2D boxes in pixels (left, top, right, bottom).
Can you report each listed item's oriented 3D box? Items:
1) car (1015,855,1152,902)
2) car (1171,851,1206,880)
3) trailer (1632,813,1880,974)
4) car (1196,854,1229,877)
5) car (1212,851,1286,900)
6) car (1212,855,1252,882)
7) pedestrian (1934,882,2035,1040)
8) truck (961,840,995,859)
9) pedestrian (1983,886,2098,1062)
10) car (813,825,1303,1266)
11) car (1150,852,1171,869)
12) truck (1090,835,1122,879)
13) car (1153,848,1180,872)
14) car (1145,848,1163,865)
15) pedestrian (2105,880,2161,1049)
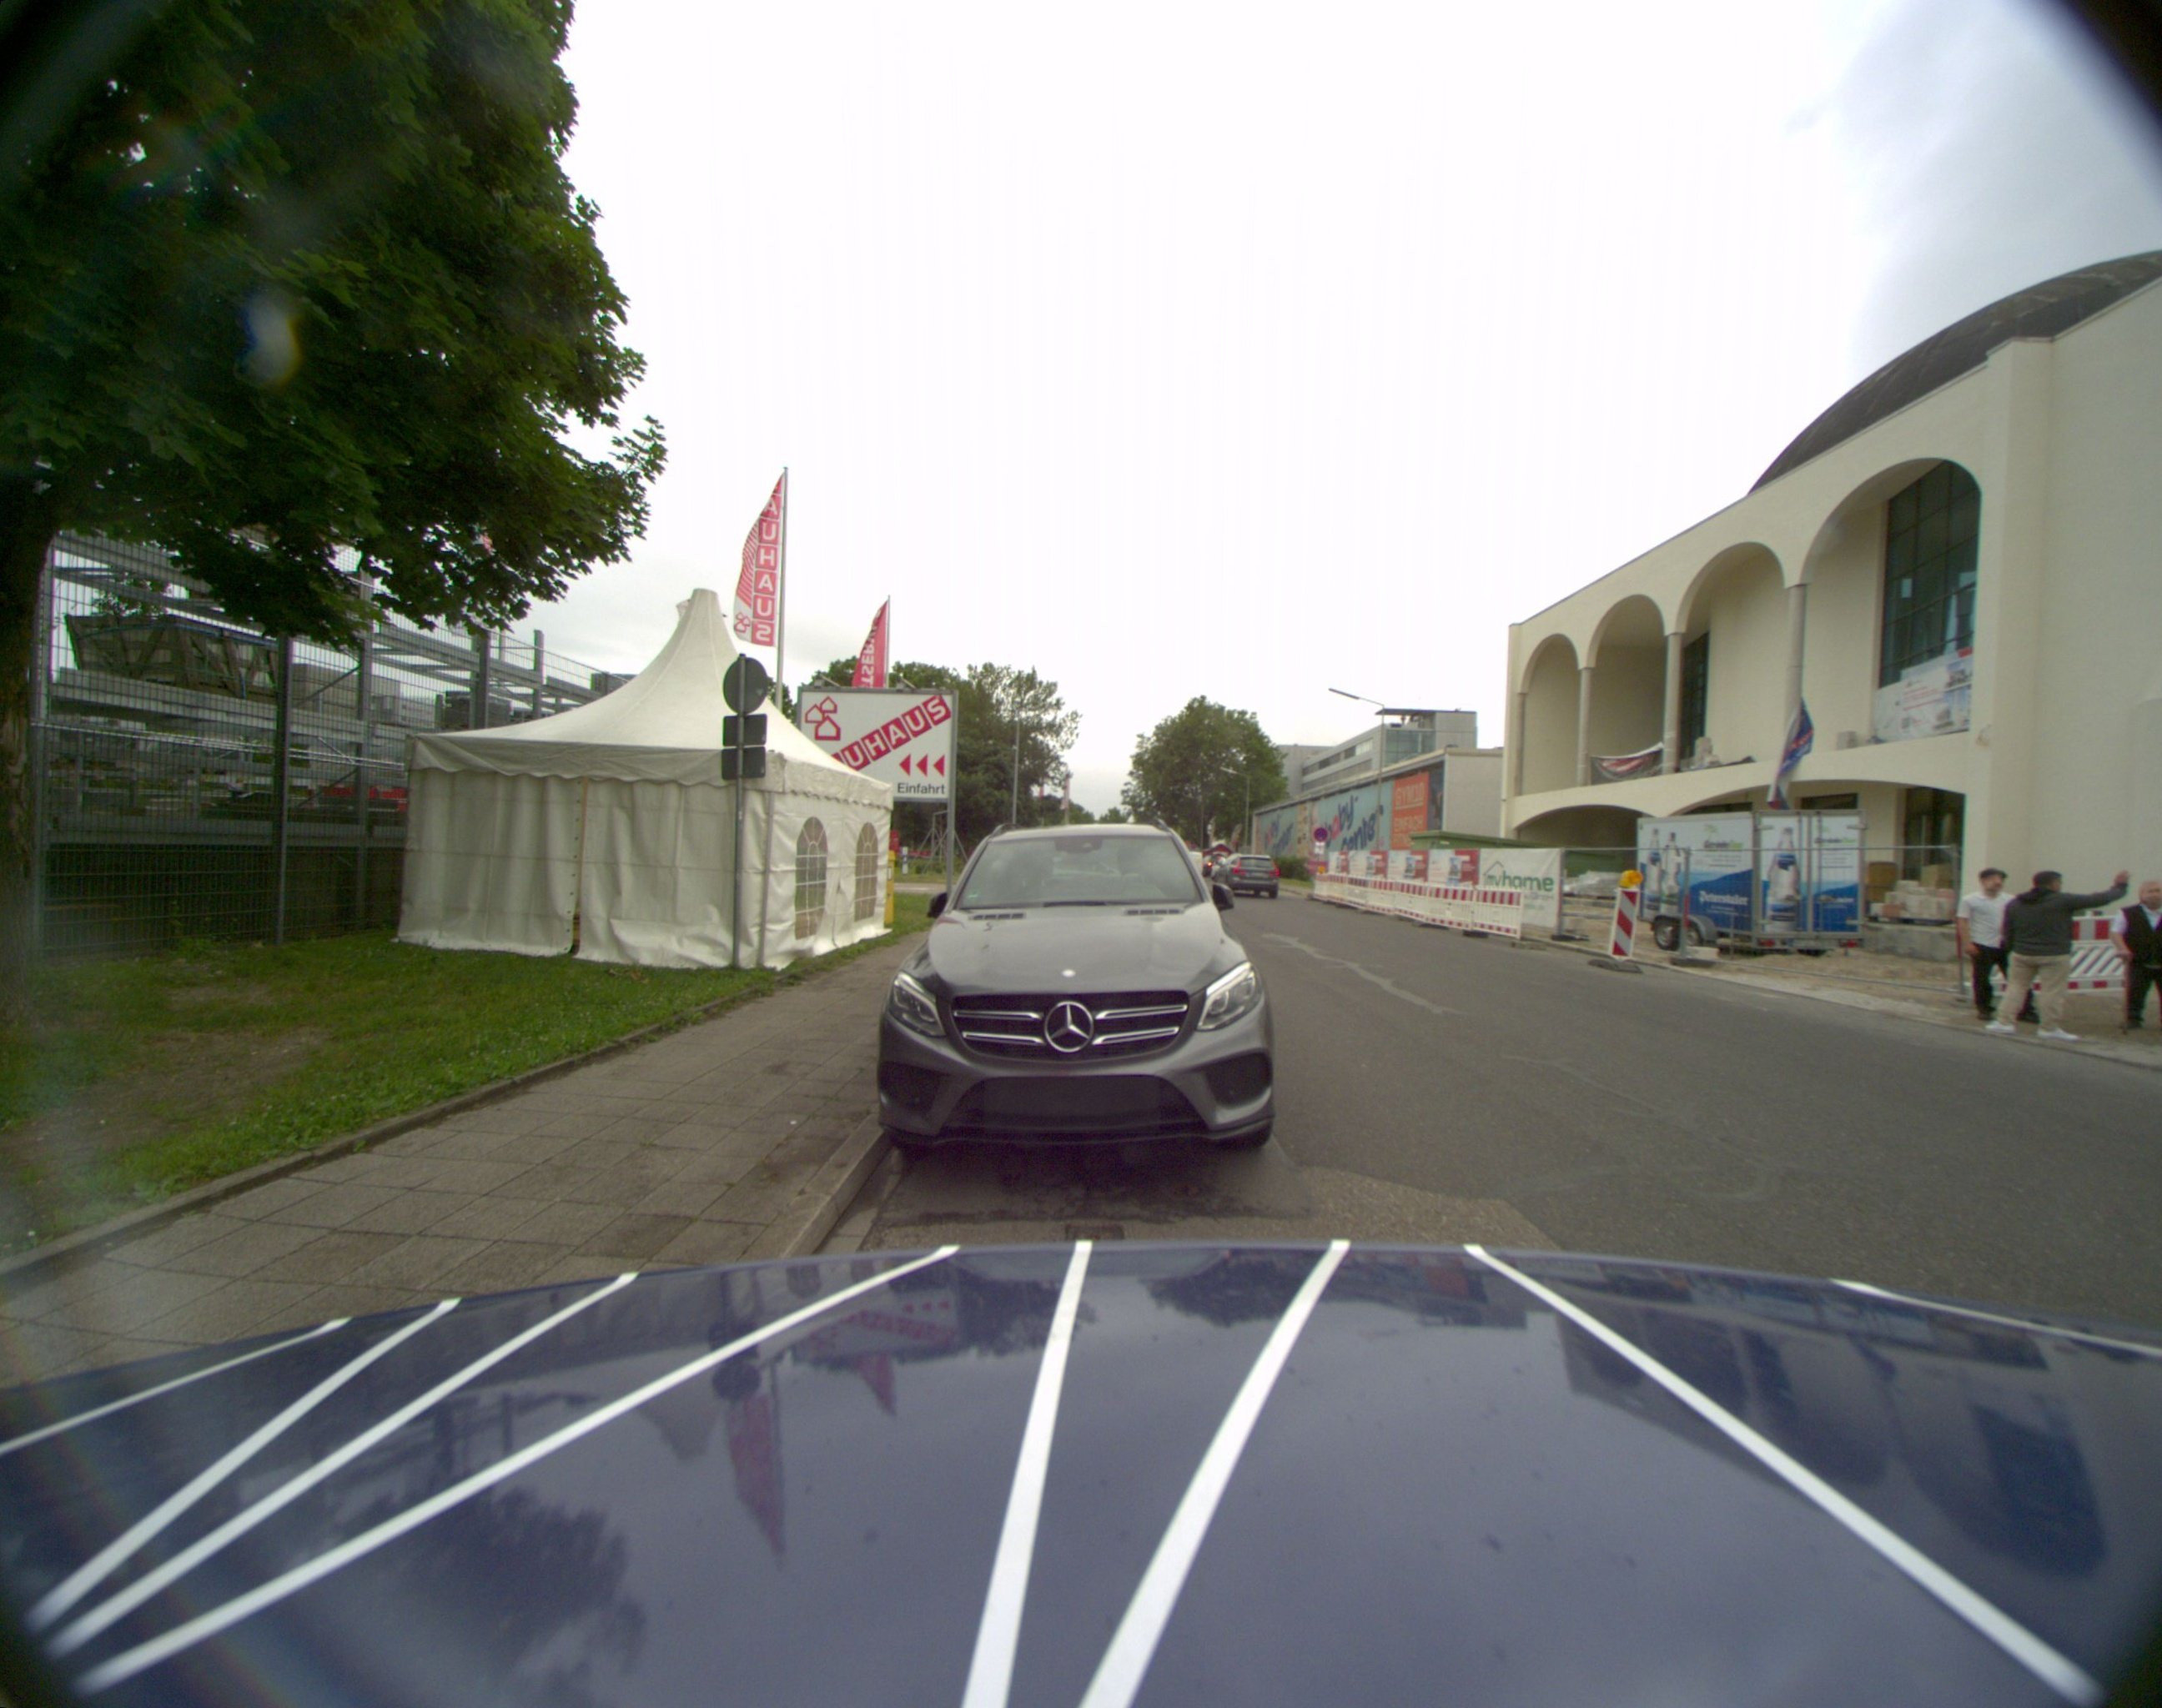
[{"bbox_3d":[0.083,0.823,26.137,4.492,1.420,1.939,1,2,0],"label":"car"},{"bbox_3d":[6.952,0.684,49.434,1.694,1.750,4.134,2,0,1],"label":"car"},{"bbox_3d":[12.287,0.644,14.143,1.802,2.592,3.192,2,1,5],"label":"trailer"},{"bbox_3d":[10.107,0.859,58.589,1.928,1.565,4.150,5,1,3],"label":"car"},{"bbox_3d":[6.506,0.780,29.998,1.938,1.674,4.495,3,1,1],"label":"car"},{"bbox_3d":[9.903,0.902,50.088,1.928,1.565,4.150,4,1,3],"label":"car"},{"bbox_3d":[10.452,1.195,8.799,0.492,1.738,0.690,1,-2,-39],"label":"pedestrian"},{"bbox_3d":[-13.565,-0.563,100.475,1.994,2.383,4.009,3,1,42],"label":"truck"},{"bbox_3d":[10.050,1.207,7.982,0.492,1.738,0.690,1,-2,-39],"label":"pedestrian"},{"bbox_3d":[0.005,0.755,5.245,1.913,1.731,4.480,-1,0,3],"label":"car"},{"bbox_3d":[7.796,0.617,74.574,1.733,1.562,3.947,2,1,2],"label":"car"},{"bbox_3d":[1.546,0.168,47.680,1.852,2.597,4.000,-1,1,2],"label":"truck"},{"bbox_3d":[7.220,0.481,64.478,1.799,1.797,4.383,3,1,1],"label":"car"},{"bbox_3d":[9.315,0.317,97.127,1.931,2.002,4.956,2,1,3],"label":"car"},{"bbox_3d":[11.293,1.143,8.013,0.492,1.738,0.527,1,-2,-39],"label":"pedestrian"}]
